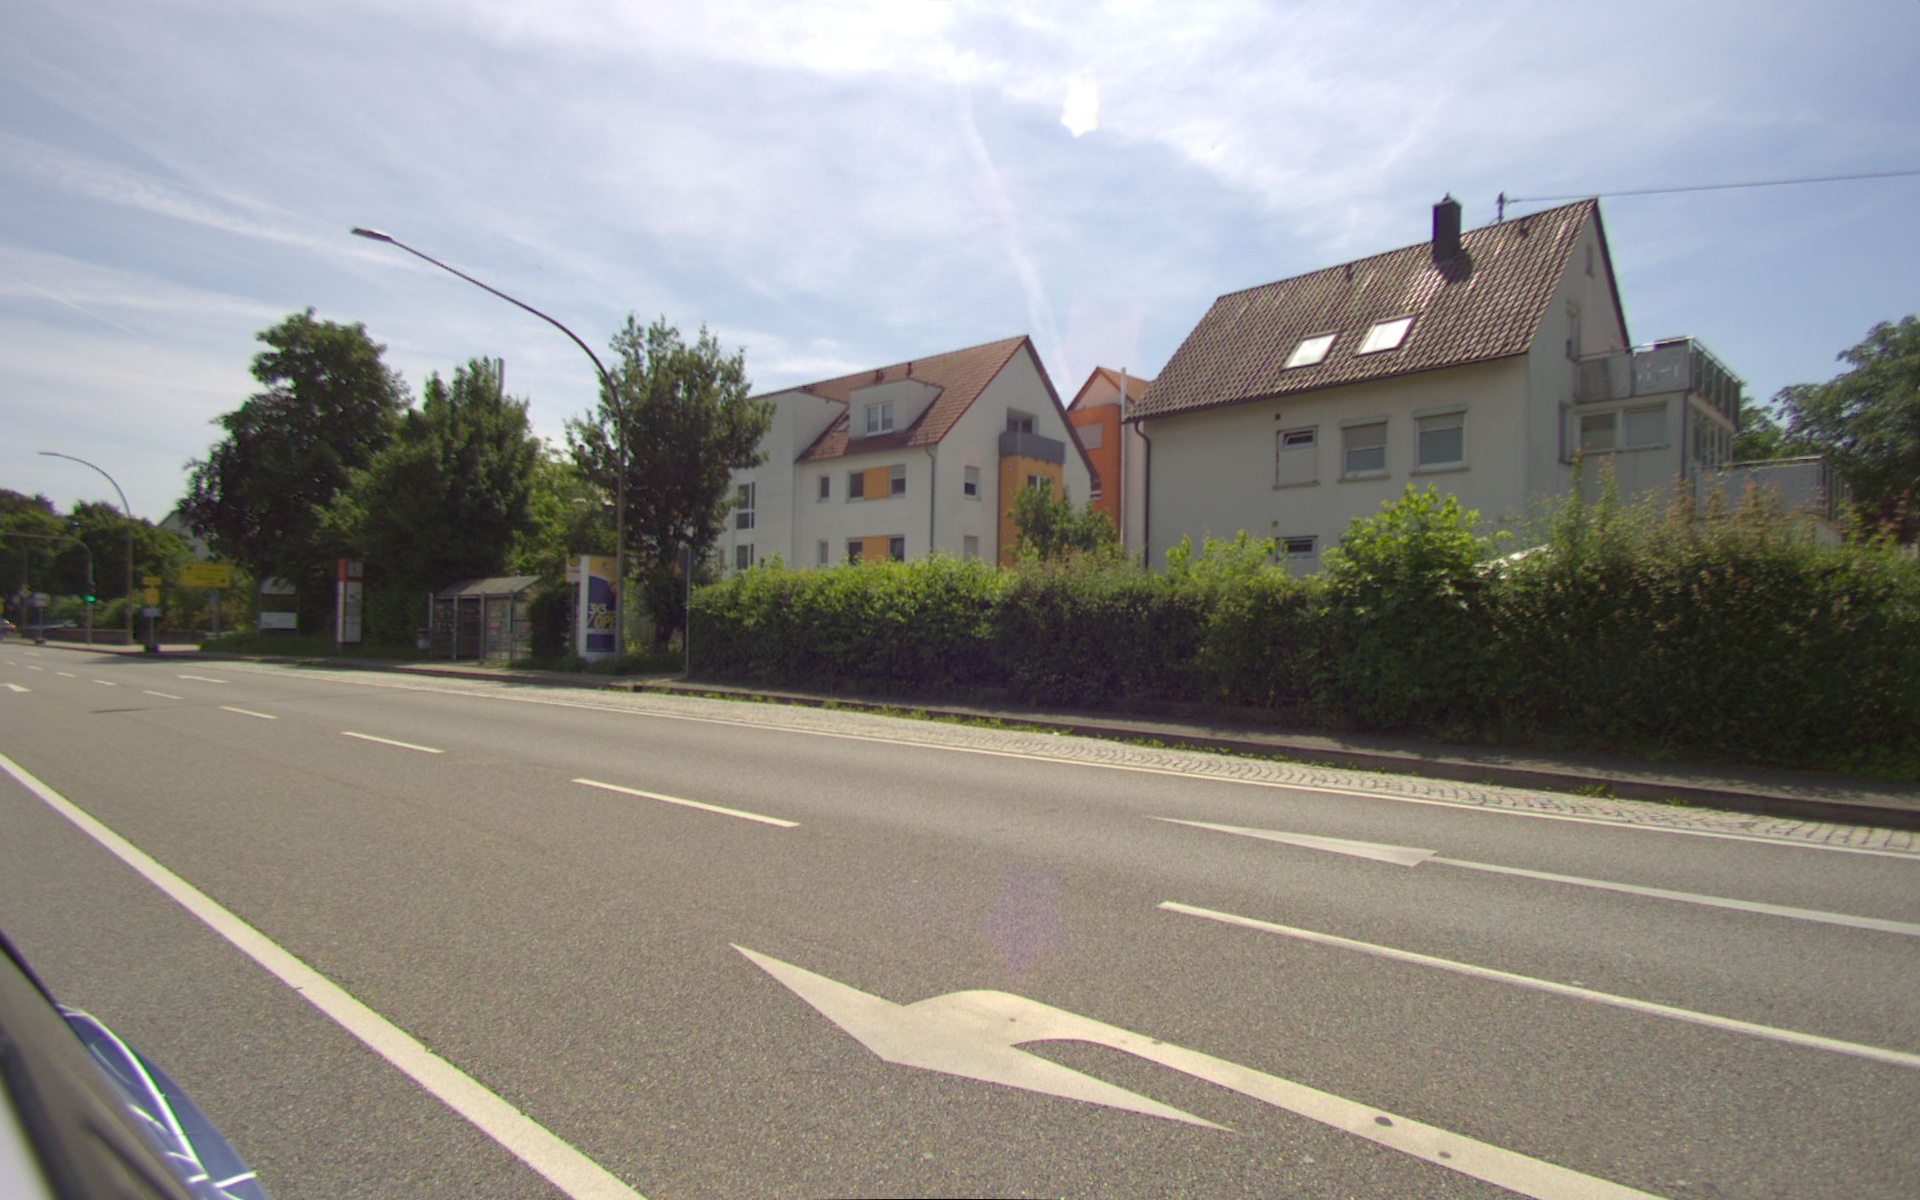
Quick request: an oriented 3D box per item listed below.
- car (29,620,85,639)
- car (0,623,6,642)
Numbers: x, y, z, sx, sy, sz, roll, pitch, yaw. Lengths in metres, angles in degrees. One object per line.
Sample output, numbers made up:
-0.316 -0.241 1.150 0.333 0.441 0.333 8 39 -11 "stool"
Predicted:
-90.918 2.970 101.960 1.997 1.783 3.949 0 1 38 "car"
-94.434 3.174 97.117 1.996 1.767 3.951 0 1 36 "car"
